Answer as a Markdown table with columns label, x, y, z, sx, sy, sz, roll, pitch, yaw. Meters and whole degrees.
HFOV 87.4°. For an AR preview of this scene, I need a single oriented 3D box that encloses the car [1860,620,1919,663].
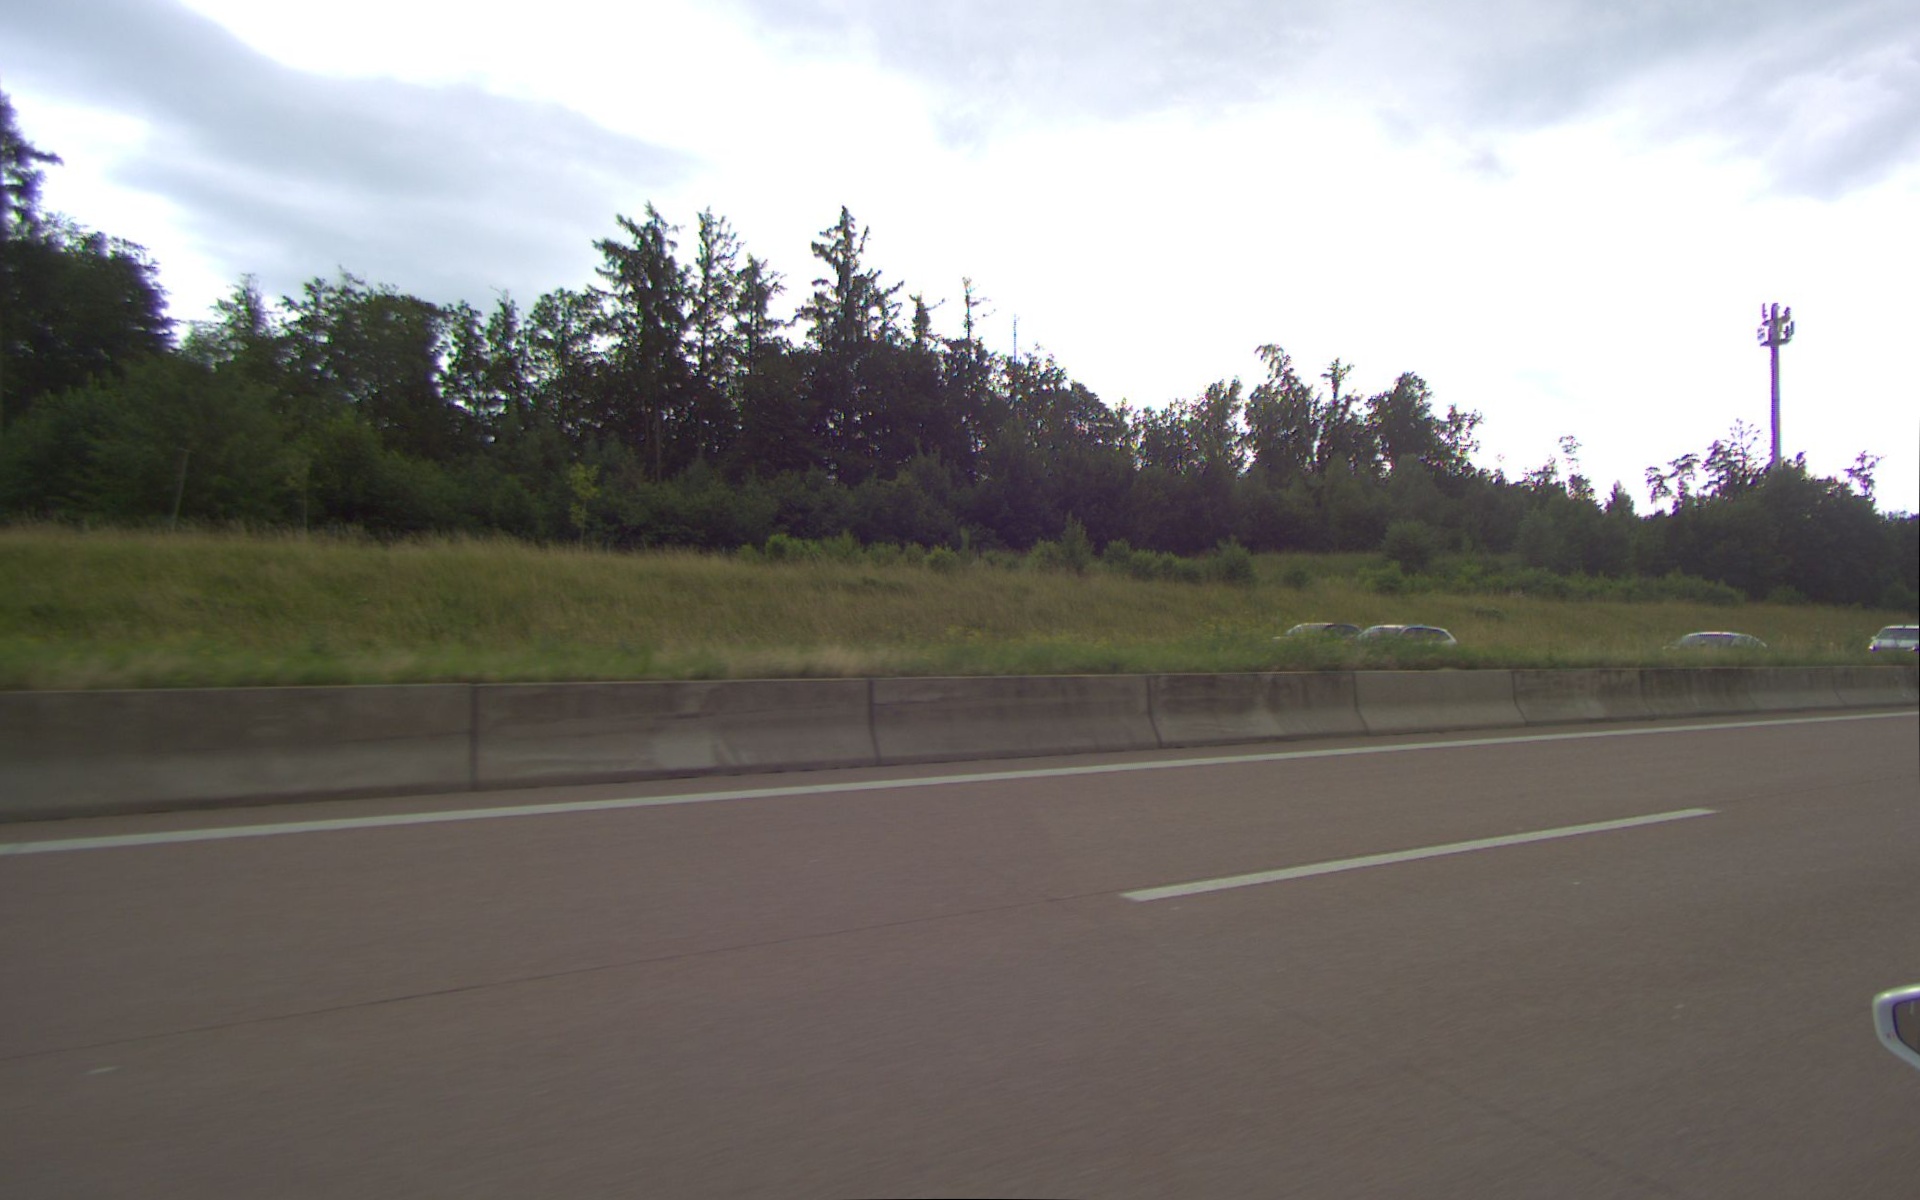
| label | x | y | z | sx | sy | sz | roll | pitch | yaw |
| --- | --- | --- | --- | --- | --- | --- | --- | --- | --- |
| car | 45.104 | 1.998 | 47.758 | 5.089 | 1.899 | 1.910 | 3 | -1 | -29 |

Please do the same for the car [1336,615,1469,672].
| label | x | y | z | sx | sy | sz | roll | pitch | yaw |
| --- | --- | --- | --- | --- | --- | --- | --- | --- | --- |
| car | 12.797 | 1.258 | 29.017 | 3.762 | 1.435 | 1.588 | 4 | -1 | -31 |
